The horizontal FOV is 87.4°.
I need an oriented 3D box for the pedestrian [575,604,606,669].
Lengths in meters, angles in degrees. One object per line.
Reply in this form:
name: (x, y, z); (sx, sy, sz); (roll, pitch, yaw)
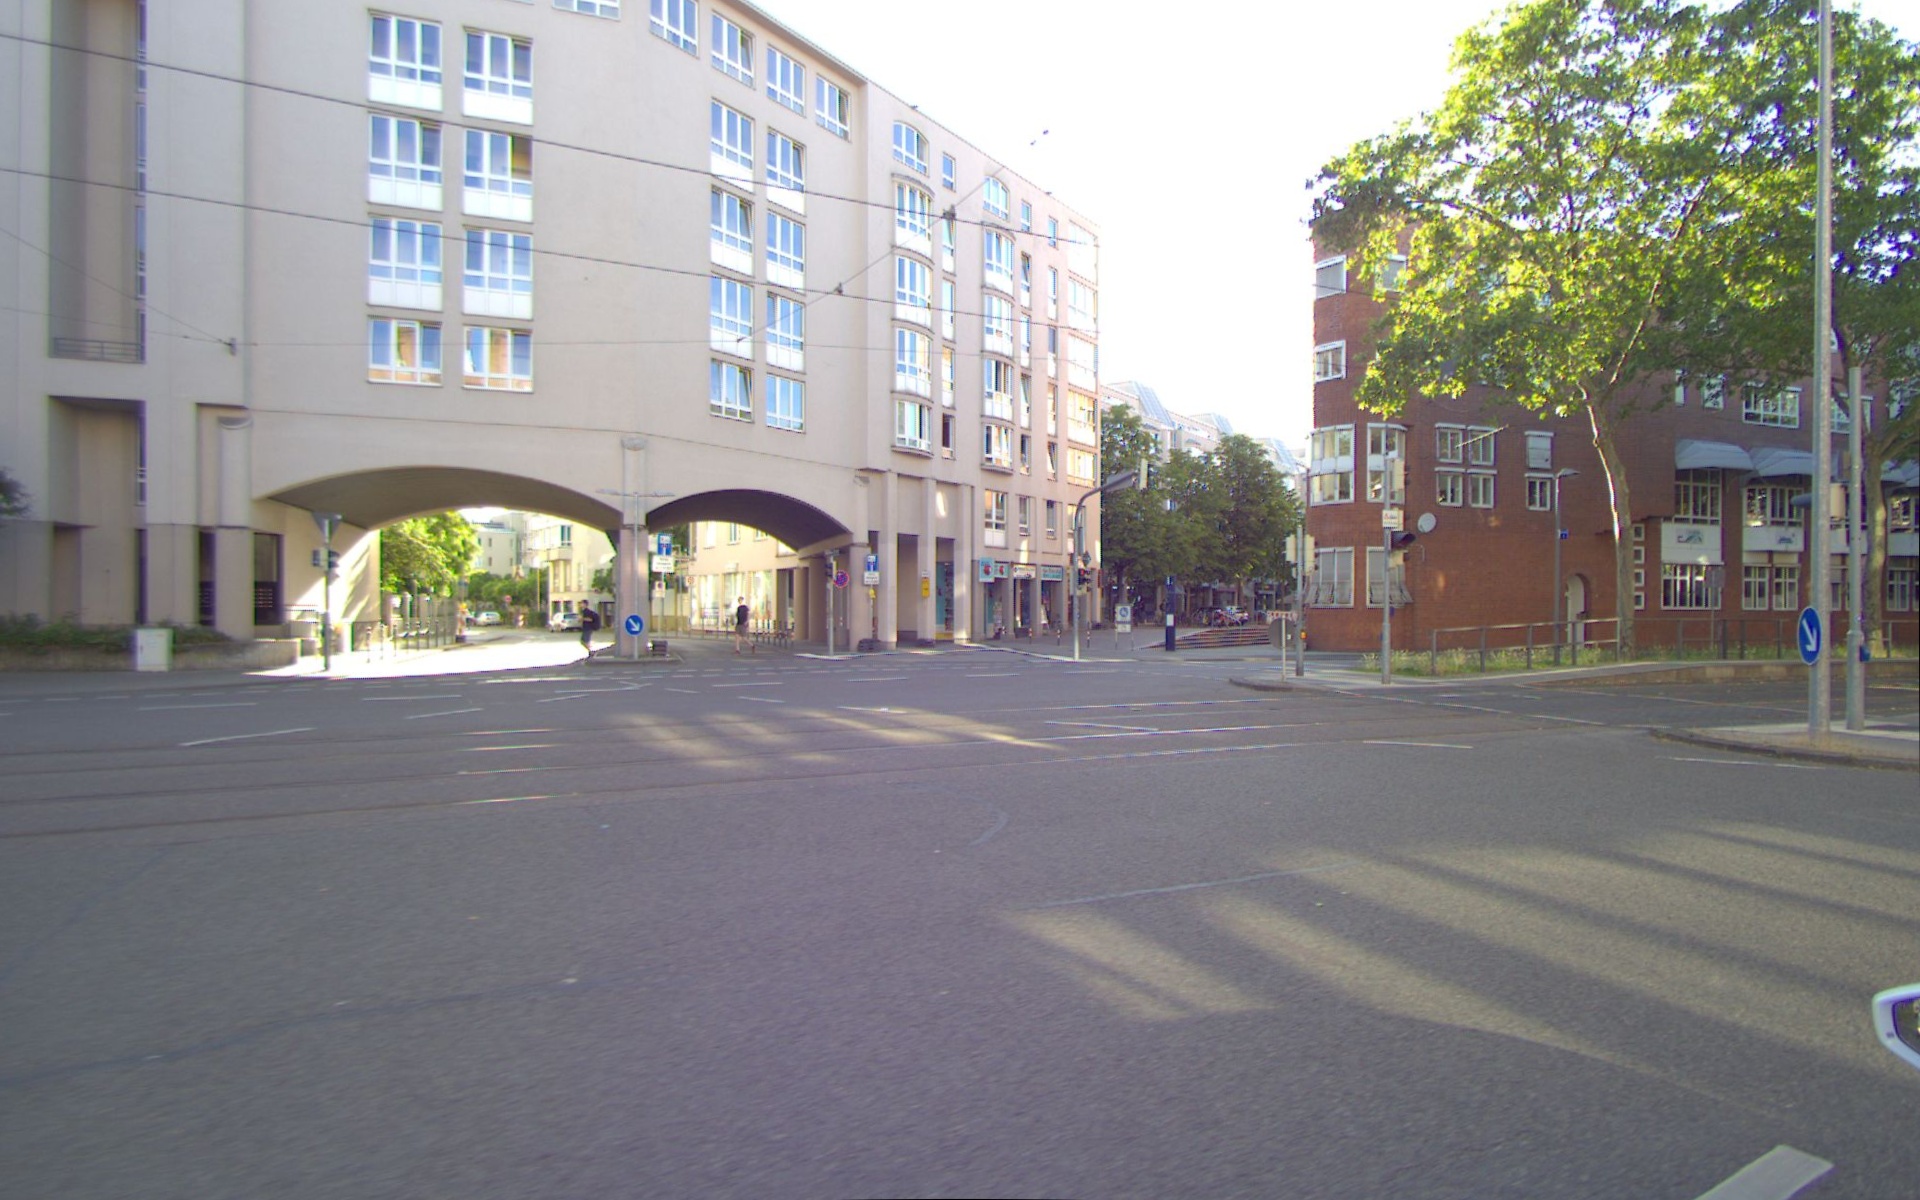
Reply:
pedestrian: (-10.890, 1.063, 29.578); (0.743, 1.894, 0.852); (0, 0, -28)

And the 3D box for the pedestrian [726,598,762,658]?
pedestrian: (-7.489, 0.950, 34.833); (0.824, 2.040, 0.883); (0, 0, 40)

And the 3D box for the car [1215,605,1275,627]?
car: (21.229, 1.181, 74.861); (3.938, 1.576, 1.991); (0, 0, -19)

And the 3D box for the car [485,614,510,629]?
car: (-44.307, 2.075, 96.265); (1.668, 1.413, 3.621); (0, -1, -33)

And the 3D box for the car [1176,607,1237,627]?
car: (17.811, 1.231, 72.659); (3.926, 1.419, 1.998); (0, 0, 27)

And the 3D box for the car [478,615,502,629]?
car: (-47.088, 2.173, 100.535); (1.668, 1.413, 3.621); (0, -1, -33)

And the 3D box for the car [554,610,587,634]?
car: (-30.282, 1.686, 77.994); (1.876, 1.752, 3.626); (0, 0, -30)

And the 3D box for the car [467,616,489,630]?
car: (-50.557, 2.382, 105.273); (1.668, 1.413, 3.621); (0, -1, -33)

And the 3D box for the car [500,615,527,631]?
car: (-39.758, 2.034, 89.472); (1.668, 1.413, 3.621); (0, -1, -33)

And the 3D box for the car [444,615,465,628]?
car: (-55.532, 2.318, 110.379); (1.668, 1.413, 3.621); (0, -1, -33)
